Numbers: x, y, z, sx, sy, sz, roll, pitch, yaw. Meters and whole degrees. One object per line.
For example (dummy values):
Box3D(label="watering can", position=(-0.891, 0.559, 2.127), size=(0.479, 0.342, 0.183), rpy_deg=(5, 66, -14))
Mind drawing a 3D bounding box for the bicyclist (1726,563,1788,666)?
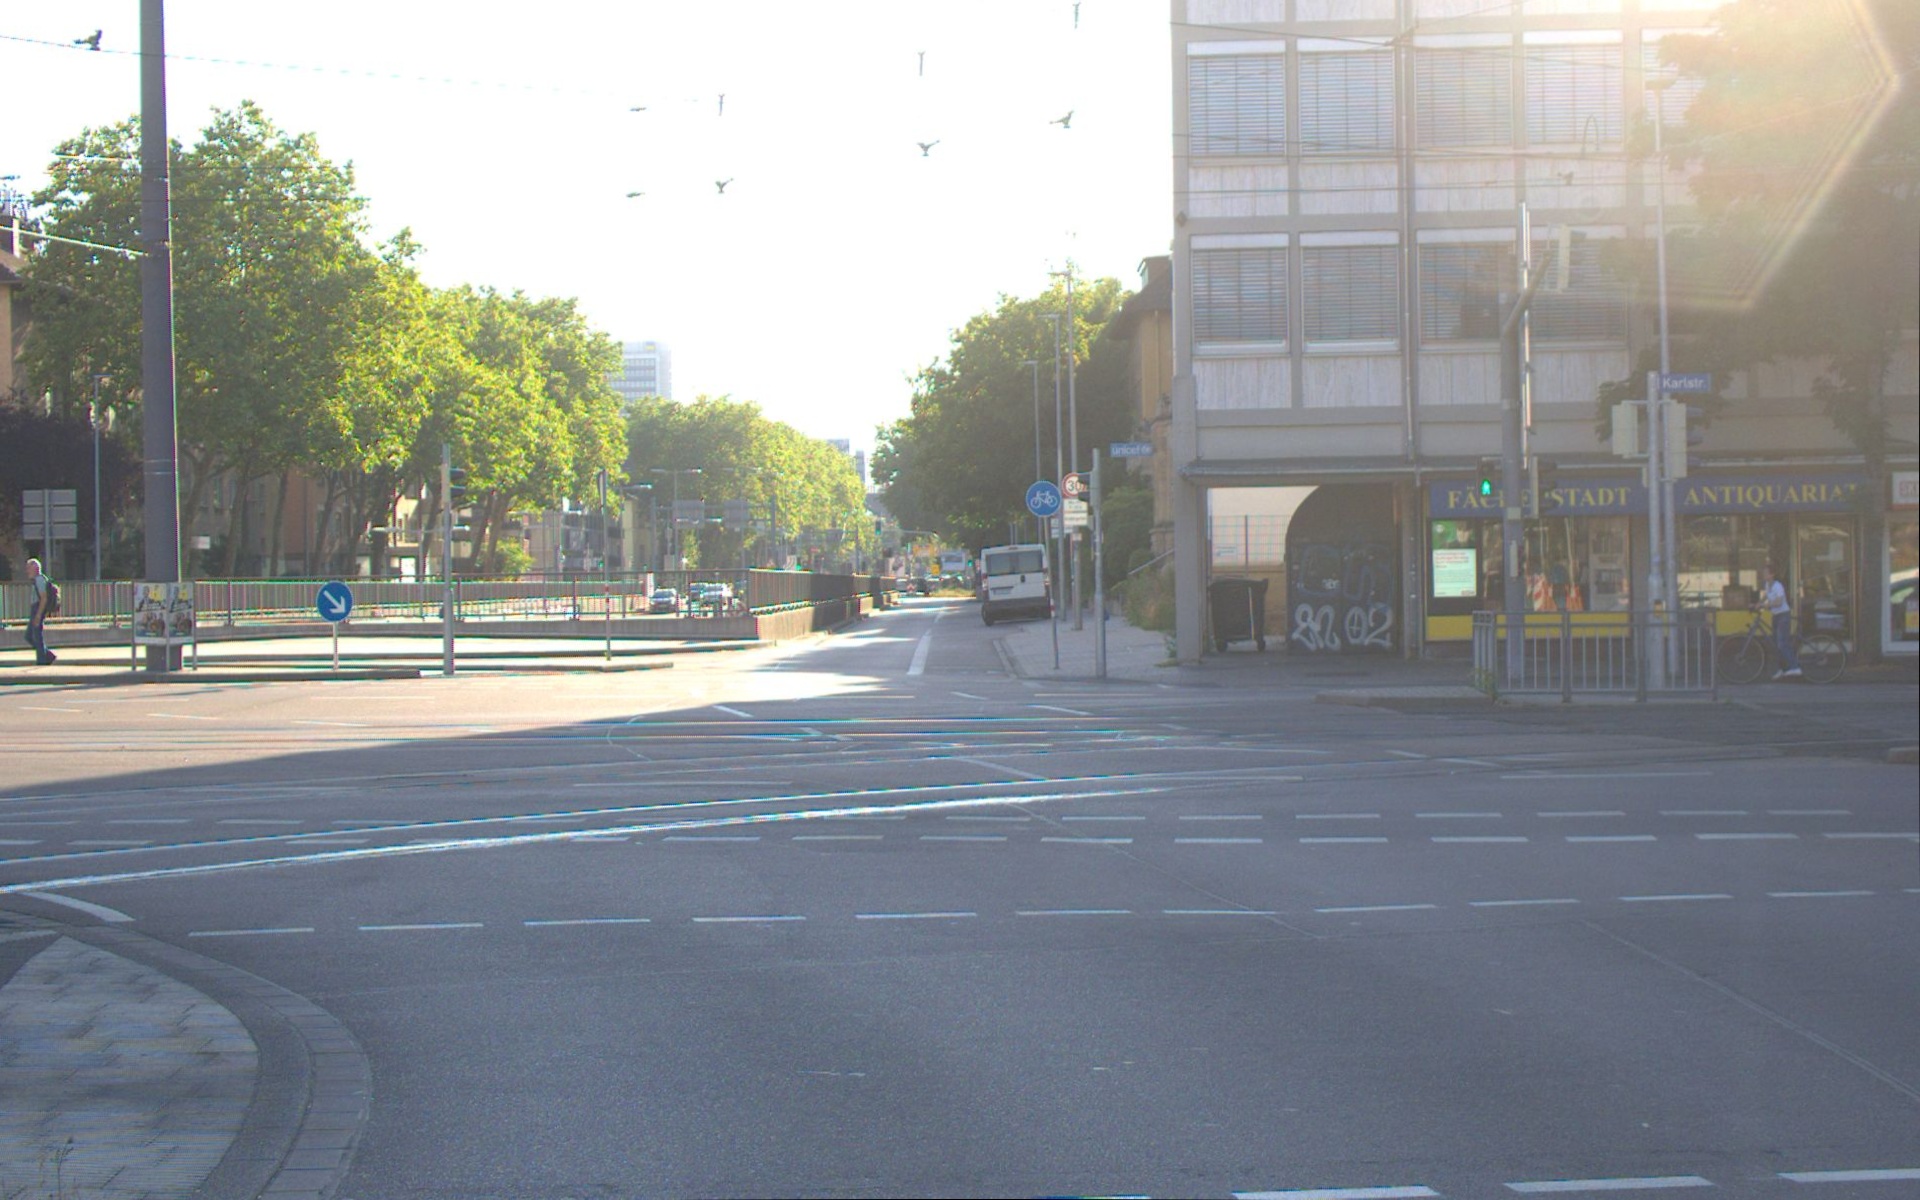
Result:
Box3D(label="bicyclist", position=(11.136, 0.198, 48.055), size=(0.679, 1.419, 0.671), rpy_deg=(1, 0, -1))

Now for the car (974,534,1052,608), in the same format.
Box3D(label="car", position=(1.624, -0.865, 103.741), size=(2.286, 2.165, 4.833), rpy_deg=(1, 0, 2))

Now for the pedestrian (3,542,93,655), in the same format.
Box3D(label="pedestrian", position=(-14.267, -0.025, 53.803), size=(1.194, 1.725, 0.856), rpy_deg=(1, 0, -5))

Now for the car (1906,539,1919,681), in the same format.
Box3D(label="car", position=(12.917, 0.143, 38.881), size=(3.987, 1.612, 1.844), rpy_deg=(1, 0, 5))

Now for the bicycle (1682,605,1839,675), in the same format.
Box3D(label="bicycle", position=(11.183, 0.556, 48.059), size=(2.024, 0.937, 0.671), rpy_deg=(1, 0, -1))
